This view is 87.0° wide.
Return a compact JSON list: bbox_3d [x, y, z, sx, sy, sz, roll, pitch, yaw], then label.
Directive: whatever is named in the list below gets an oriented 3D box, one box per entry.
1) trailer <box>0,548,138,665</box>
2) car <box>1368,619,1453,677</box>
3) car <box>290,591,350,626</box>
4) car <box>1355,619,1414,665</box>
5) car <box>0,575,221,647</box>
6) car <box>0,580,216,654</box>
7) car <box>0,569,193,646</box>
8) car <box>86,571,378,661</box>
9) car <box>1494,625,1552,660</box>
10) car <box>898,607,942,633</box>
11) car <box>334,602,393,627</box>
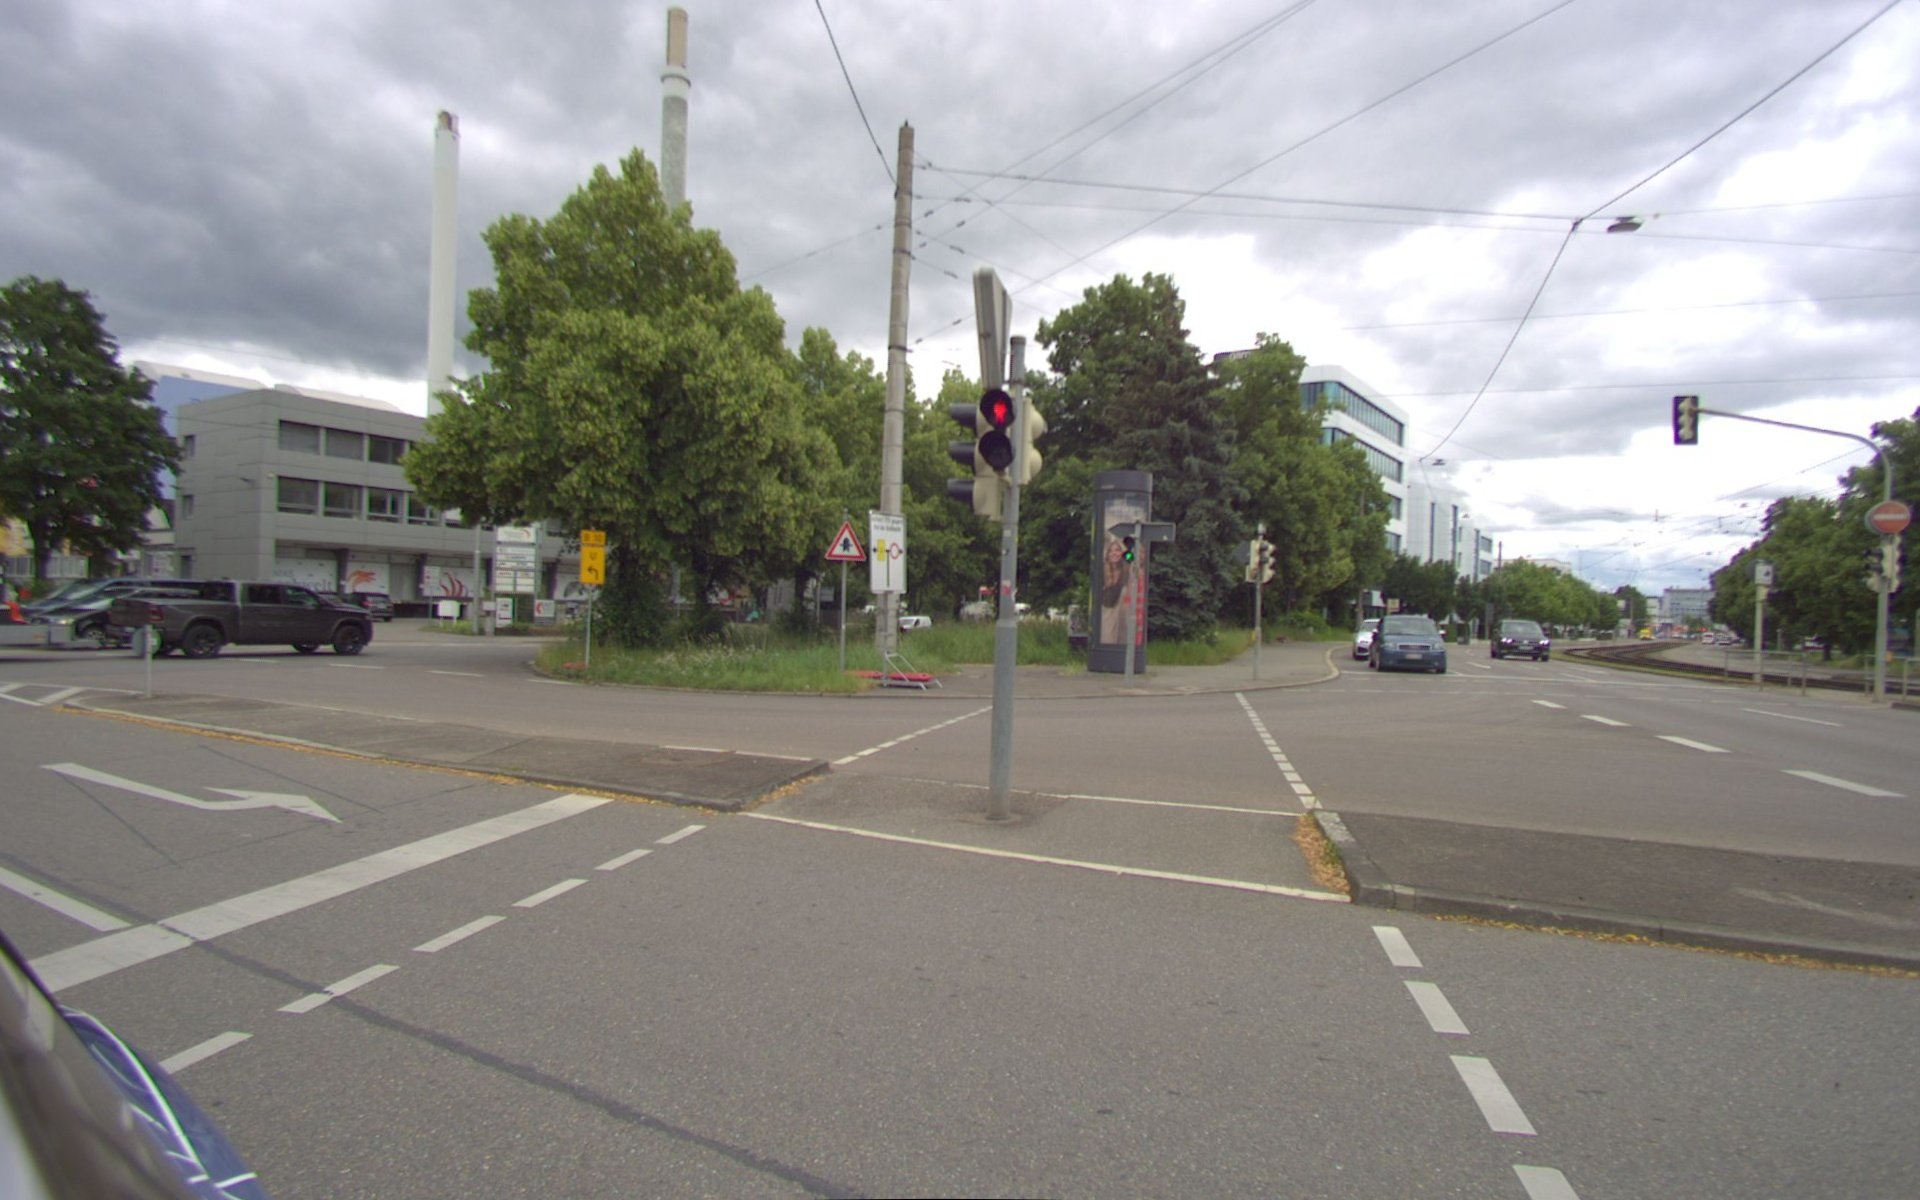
[{"bbox_3d":[-20.799,0.112,21.027,2.139,2.405,5.342,1,-1,25],"label":"trailer"},{"bbox_3d":[12.022,1.243,27.201,1.736,1.402,3.680,1,-1,19],"label":"car"},{"bbox_3d":[-35.783,0.444,56.565,3.567,1.691,1.755,3,3,37],"label":"car"},{"bbox_3d":[14.392,1.385,34.440,1.737,1.437,4.135,0,-1,21],"label":"car"},{"bbox_3d":[-25.123,0.346,30.120,1.822,1.959,4.763,1,-1,24],"label":"car"},{"bbox_3d":[-22.522,0.460,26.880,1.817,1.785,4.208,1,-1,16],"label":"car"},{"bbox_3d":[-25.332,0.239,29.532,1.988,2.029,4.204,2,-1,24],"label":"car"},{"bbox_3d":[-18.387,0.434,25.994,1.941,1.994,5.817,3,0,27],"label":"car"},{"bbox_3d":[22.985,1.702,41.274,1.627,1.342,3.133,0,-1,38],"label":"car"},{"bbox_3d":[-3.113,1.541,79.869,1.984,1.675,4.736,2,3,18],"label":"car"},{"bbox_3d":[-34.698,0.836,58.840,3.567,1.187,1.755,3,3,37],"label":"car"}]
